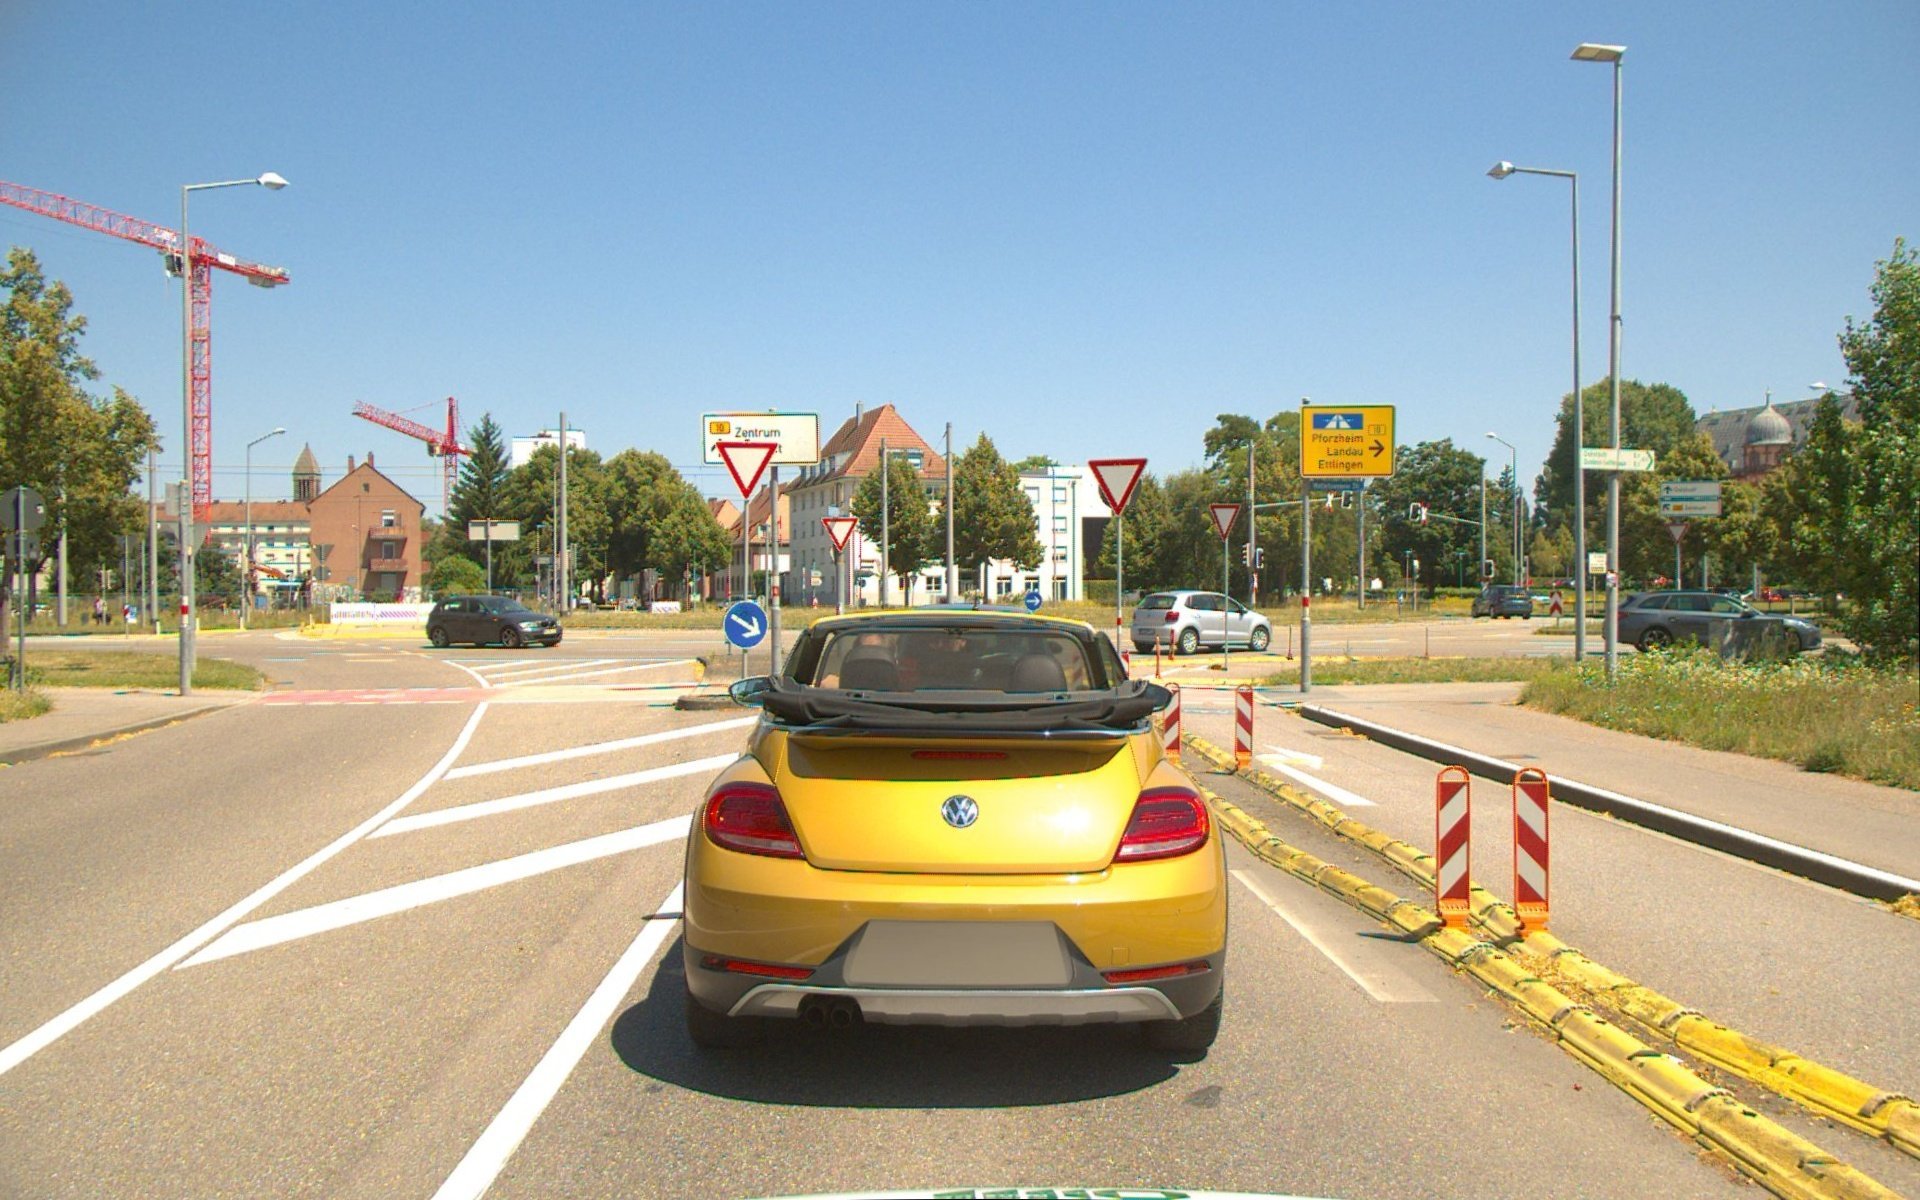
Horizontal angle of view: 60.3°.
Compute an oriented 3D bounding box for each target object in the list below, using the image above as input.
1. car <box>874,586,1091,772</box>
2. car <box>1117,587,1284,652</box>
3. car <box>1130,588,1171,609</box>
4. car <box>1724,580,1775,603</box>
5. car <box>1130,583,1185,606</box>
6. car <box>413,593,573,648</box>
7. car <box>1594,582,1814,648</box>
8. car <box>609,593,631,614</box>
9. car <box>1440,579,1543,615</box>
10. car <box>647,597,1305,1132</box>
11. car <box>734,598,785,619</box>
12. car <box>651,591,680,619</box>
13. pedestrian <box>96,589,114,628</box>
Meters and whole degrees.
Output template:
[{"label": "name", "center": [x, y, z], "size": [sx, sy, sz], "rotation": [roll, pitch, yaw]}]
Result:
[{"label": "car", "center": [0.085, 0.632, 15.650], "size": [1.761, 1.465, 3.998], "rotation": [0, 1, -4]}, {"label": "car", "center": [5.796, 0.430, 39.663], "size": [3.960, 1.447, 1.758], "rotation": [-1, 1, -39]}, {"label": "car", "center": [19.467, -0.137, 169.330], "size": [3.902, 2.049, 2.001], "rotation": [1, 0, 14]}, {"label": "car", "center": [74.267, -0.781, 155.590], "size": [3.923, 2.049, 1.991], "rotation": [1, 0, 38]}, {"label": "car", "center": [15.761, -0.452, 132.162], "size": [3.918, 1.713, 1.993], "rotation": [1, 0, -13]}, {"label": "car", "center": [-12.834, 0.560, 45.487], "size": [3.983, 1.427, 1.753], "rotation": [0, 1, 21]}, {"label": "car", "center": [16.872, 0.343, 37.743], "size": [4.347, 1.443, 2.001], "rotation": [-1, 0, 17]}, {"label": "car", "center": [-34.074, 0.357, 165.723], "size": [1.959, 2.049, 3.986], "rotation": [1, 0, -13]}, {"label": "car", "center": [23.052, -0.132, 71.850], "size": [1.974, 1.490, 3.956], "rotation": [1, 0, -32]}, {"label": "car", "center": [0.022, 0.724, 6.352], "size": [1.788, 1.427, 3.661], "rotation": [1, 0, -1]}, {"label": "car", "center": [-16.078, 0.664, 132.790], "size": [3.909, 1.646, 1.998], "rotation": [1, 0, -5]}, {"label": "car", "center": [-22.404, 0.393, 125.772], "size": [1.959, 2.049, 3.986], "rotation": [1, 0, -13]}, {"label": "pedestrian", "center": [-44.661, 0.446, 86.422], "size": [0.589, 2.049, 0.594], "rotation": [1, -1, -1]}]
